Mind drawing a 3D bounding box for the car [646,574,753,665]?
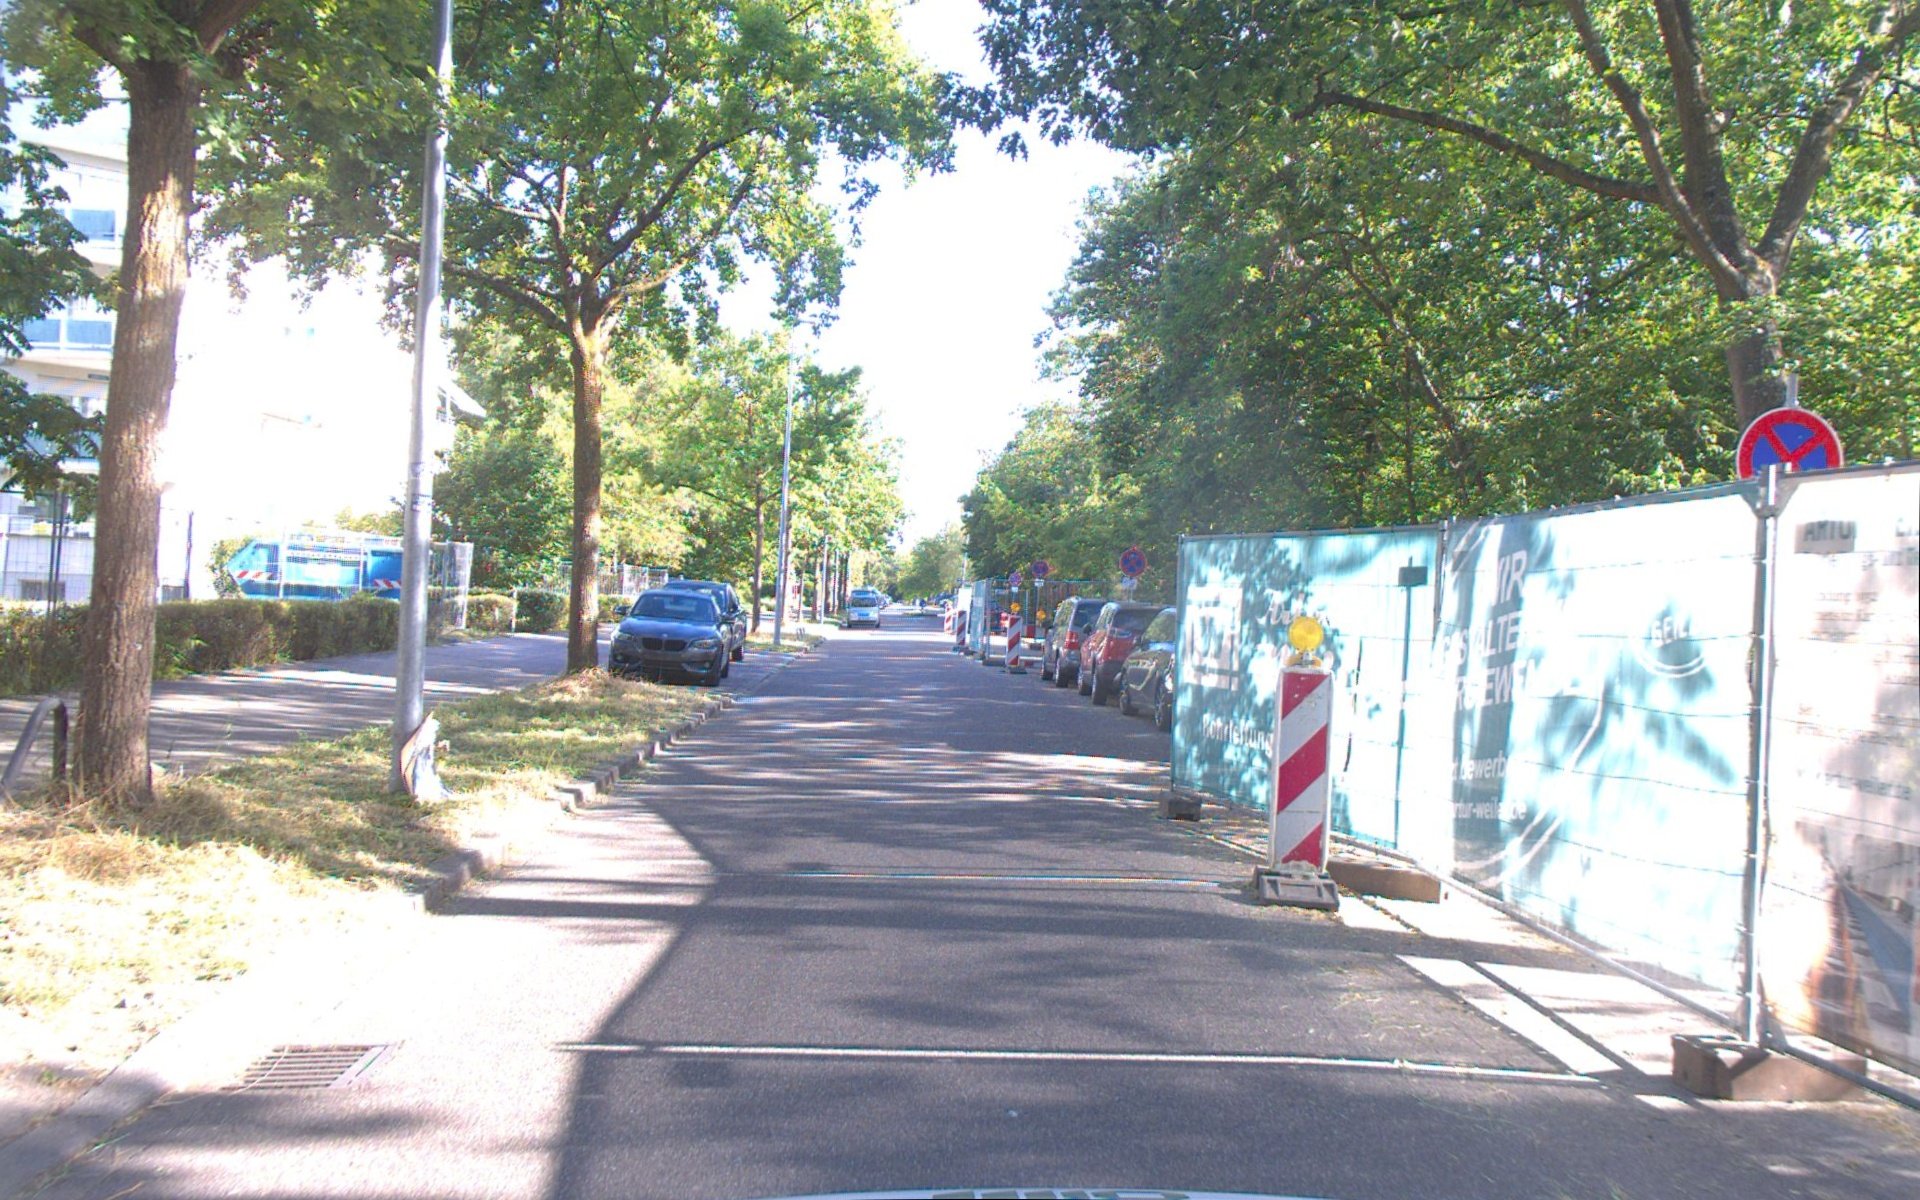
[{"bbox_3d":[-5.332,0.385,34.194,1.655,1.704,3.500,3,0,-2],"label":"car"}]

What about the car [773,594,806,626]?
[{"bbox_3d":[-7.646,0.457,74.458,1.335,1.325,3.477,3,-1,-5],"label":"car"}]

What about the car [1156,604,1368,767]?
[{"bbox_3d":[3.119,0.836,17.594,1.471,1.504,3.056,2,0,-4],"label":"car"}]

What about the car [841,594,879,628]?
[{"bbox_3d":[-5.119,0.572,84.023,1.678,1.612,3.994,3,-1,-6],"label":"car"}]

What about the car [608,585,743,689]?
[{"bbox_3d":[-4.565,0.562,26.993,1.716,1.504,3.833,3,0,-4],"label":"car"}]

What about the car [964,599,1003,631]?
[{"bbox_3d":[1.124,0.727,80.192,1.758,1.434,3.999,2,0,-1],"label":"car"}]

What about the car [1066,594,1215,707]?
[{"bbox_3d":[2.826,0.762,26.643,1.718,1.623,3.654,2,0,-4],"label":"car"}]

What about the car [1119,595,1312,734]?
[{"bbox_3d":[3.288,0.785,21.913,1.718,1.623,3.654,2,0,-4],"label":"car"}]

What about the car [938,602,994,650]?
[{"bbox_3d":[0.141,0.765,50.075,1.335,1.325,3.477,3,-1,-5],"label":"car"}]

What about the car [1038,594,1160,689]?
[{"bbox_3d":[2.569,0.743,31.312,1.718,1.623,3.654,2,0,-4],"label":"car"}]

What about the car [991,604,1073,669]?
[{"bbox_3d":[1.580,0.796,37.172,1.335,1.325,3.477,3,-1,-5],"label":"car"}]

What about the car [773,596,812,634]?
[{"bbox_3d":[-6.285,0.570,62.300,1.335,1.325,3.477,3,-1,-5],"label":"car"}]
